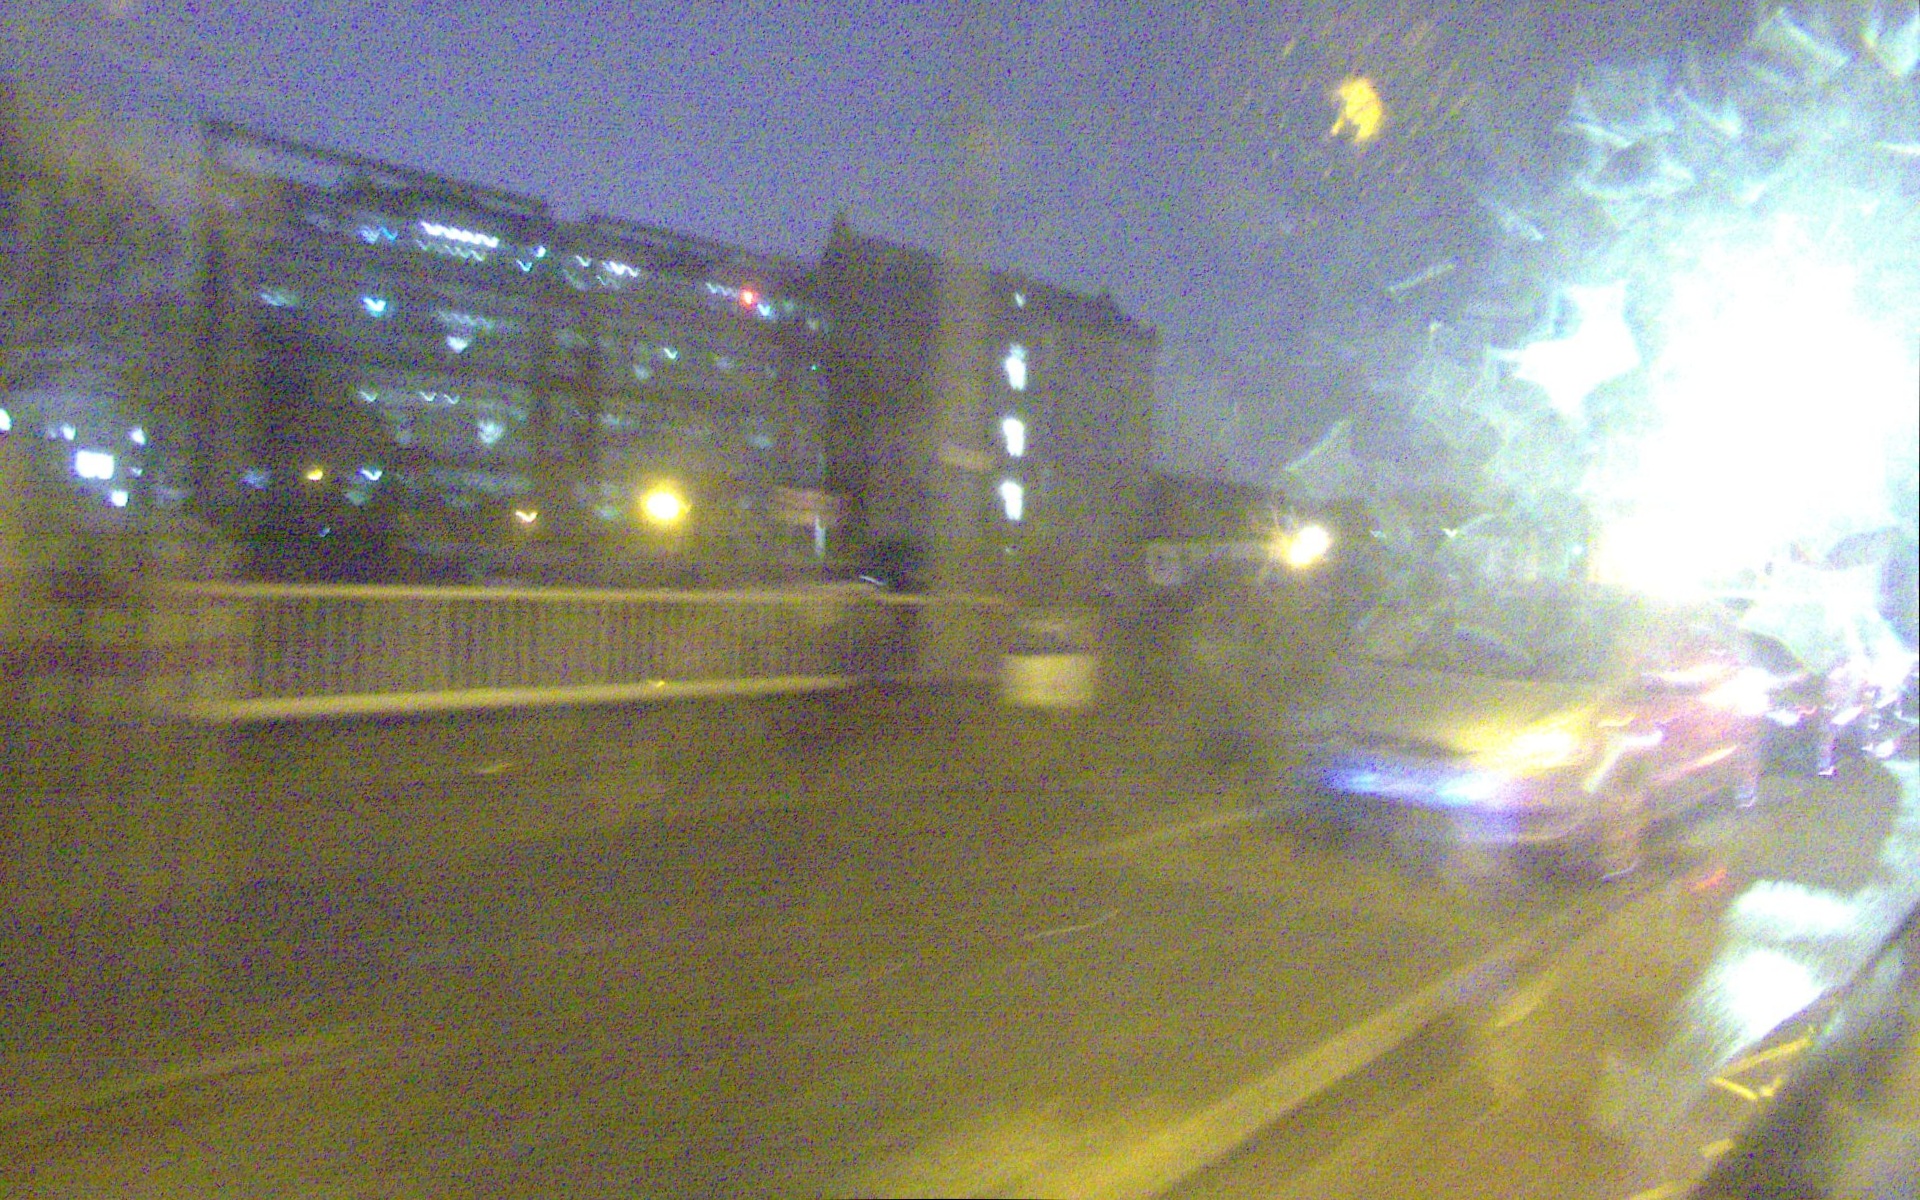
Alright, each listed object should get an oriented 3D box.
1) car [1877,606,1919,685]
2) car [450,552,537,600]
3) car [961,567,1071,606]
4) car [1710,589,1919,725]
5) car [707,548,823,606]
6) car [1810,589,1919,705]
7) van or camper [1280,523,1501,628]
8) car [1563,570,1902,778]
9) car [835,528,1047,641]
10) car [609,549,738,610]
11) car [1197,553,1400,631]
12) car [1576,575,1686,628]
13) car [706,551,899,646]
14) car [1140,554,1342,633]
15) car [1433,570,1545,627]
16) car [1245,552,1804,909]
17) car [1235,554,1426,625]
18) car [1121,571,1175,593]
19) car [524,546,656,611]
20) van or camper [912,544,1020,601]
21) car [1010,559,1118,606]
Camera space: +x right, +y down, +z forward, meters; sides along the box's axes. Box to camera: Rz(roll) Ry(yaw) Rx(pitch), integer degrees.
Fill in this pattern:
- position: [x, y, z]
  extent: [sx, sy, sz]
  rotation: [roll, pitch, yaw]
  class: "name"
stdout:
- position: [20.842, 0.943, 21.296]
  extent: [4.358, 1.507, 1.717]
  rotation: [0, 2, -41]
  class: "car"
- position: [-17.088, -0.896, 36.920]
  extent: [1.959, 1.608, 4.602]
  rotation: [0, 2, -37]
  class: "car"
- position: [1.943, -0.507, 36.196]
  extent: [1.615, 1.265, 3.996]
  rotation: [1, 1, -40]
  class: "car"
- position: [12.248, 0.710, 14.280]
  extent: [4.080, 1.547, 1.758]
  rotation: [1, 3, -41]
  class: "car"
- position: [-5.897, -0.708, 30.312]
  extent: [1.742, 1.583, 3.998]
  rotation: [1, 1, -38]
  class: "car"
- position: [16.201, 0.770, 17.449]
  extent: [4.114, 1.728, 1.716]
  rotation: [1, 3, -42]
  class: "car"
- position: [11.502, -0.673, 27.421]
  extent: [2.130, 2.558, 5.079]
  rotation: [1, 1, -36]
  class: "van or camper"
- position: [8.053, 0.615, 10.388]
  extent: [4.449, 1.591, 1.885]
  rotation: [1, 3, -42]
  class: "car"
- position: [-0.465, -0.319, 18.393]
  extent: [1.717, 1.811, 4.077]
  rotation: [1, 1, -38]
  class: "car"
- position: [-8.196, -0.615, 28.746]
  extent: [1.798, 1.584, 4.153]
  rotation: [1, 1, -43]
  class: "car"
- position: [7.772, -0.242, 23.565]
  extent: [1.655, 1.637, 4.227]
  rotation: [1, 1, -40]
  class: "car"
- position: [23.091, 0.057, 34.798]
  extent: [4.180, 1.717, 1.909]
  rotation: [0, 0, -37]
  class: "car"
- position: [-2.745, -0.086, 17.045]
  extent: [1.591, 1.417, 3.696]
  rotation: [1, 1, -38]
  class: "car"
- position: [6.042, -0.184, 22.141]
  extent: [1.655, 1.540, 3.996]
  rotation: [1, 1, -40]
  class: "car"
- position: [15.090, -0.036, 28.836]
  extent: [3.345, 1.487, 1.567]
  rotation: [1, 1, -38]
  class: "car"
- position: [4.065, 0.611, 6.904]
  extent: [4.509, 1.592, 1.885]
  rotation: [1, 3, -42]
  class: "car"
- position: [9.336, -0.316, 25.787]
  extent: [1.774, 1.637, 4.227]
  rotation: [1, 1, -40]
  class: "car"
- position: [13.668, -1.310, 73.466]
  extent: [3.720, 1.527, 1.754]
  rotation: [0, 2, -36]
  class: "car"
- position: [-9.901, -0.601, 26.922]
  extent: [1.798, 1.584, 4.153]
  rotation: [1, 1, -43]
  class: "car"
- position: [0.211, -1.345, 48.329]
  extent: [2.339, 2.585, 5.393]
  rotation: [0, 2, -38]
  class: "van or camper"
- position: [3.773, -0.672, 37.300]
  extent: [1.538, 1.596, 3.996]
  rotation: [1, 1, -40]
  class: "car"
